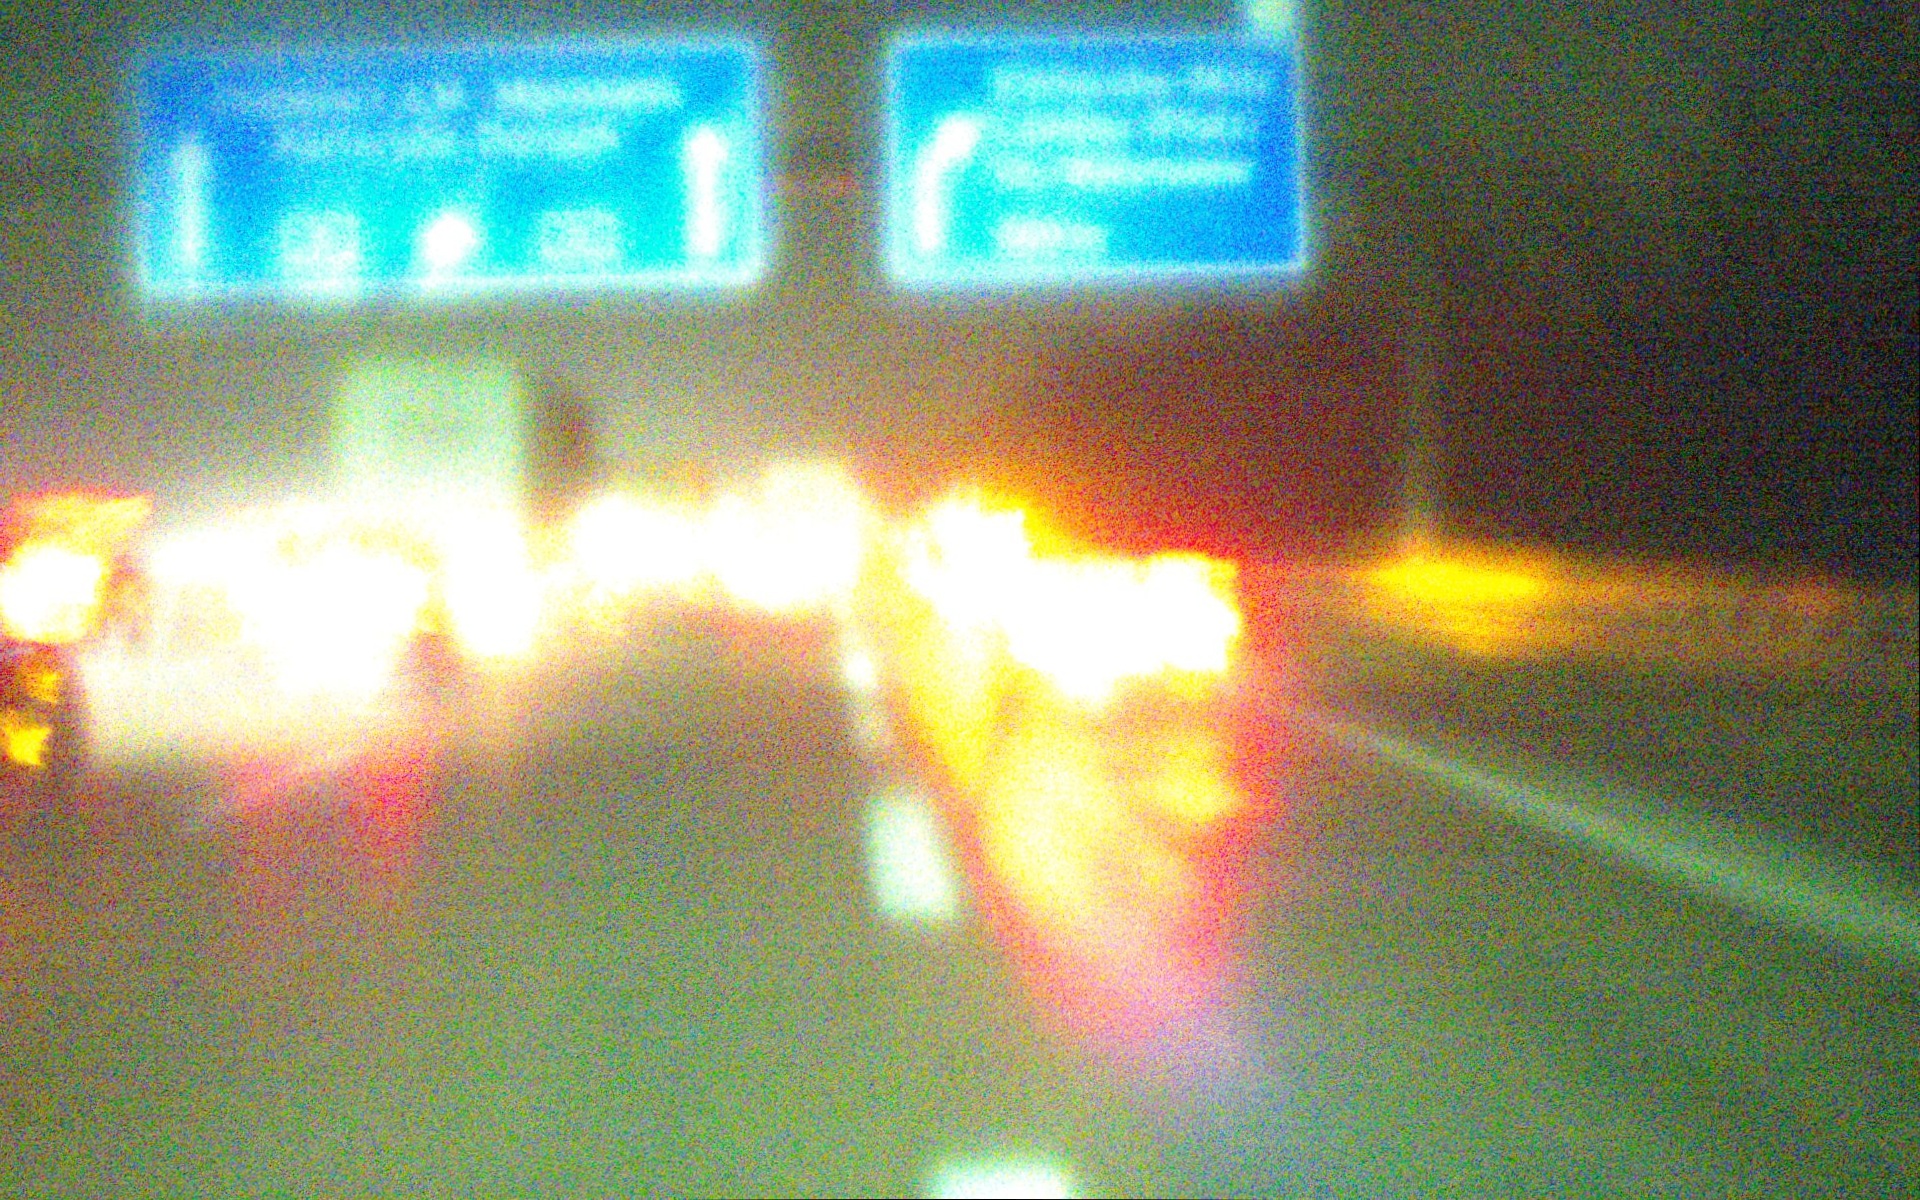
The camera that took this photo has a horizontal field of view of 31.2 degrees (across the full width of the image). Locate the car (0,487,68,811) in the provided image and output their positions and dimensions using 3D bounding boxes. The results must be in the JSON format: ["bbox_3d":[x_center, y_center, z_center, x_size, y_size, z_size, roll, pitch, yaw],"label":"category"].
[{"bbox_3d":[-5.859,0.256,17.684,1.765,1.683,4.001,0,2,-4],"label":"car"}]

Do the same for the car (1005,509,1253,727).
[{"bbox_3d":[1.406,0.121,30.129,1.878,1.756,4.000,1,1,-1],"label":"car"}]

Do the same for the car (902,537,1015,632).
[{"bbox_3d":[-0.072,-0.312,65.035,1.993,1.698,4.459,1,1,-2],"label":"car"}]

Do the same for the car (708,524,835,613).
[{"bbox_3d":[-4.455,-0.762,82.110,2.832,2.007,5.511,1,1,-1],"label":"car"}]

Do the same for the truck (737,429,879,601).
[{"bbox_3d":[-4.959,-2.678,110.050,4.161,5.197,9.956,1,1,-4],"label":"truck"}]

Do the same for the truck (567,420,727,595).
[{"bbox_3d":[-10.188,-2.981,113.405,4.254,5.425,10.885,1,1,0],"label":"truck"}]

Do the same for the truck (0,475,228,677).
[{"bbox_3d":[-10.483,-0.315,40.506,2.856,2.193,5.860,1,1,-4],"label":"truck"}]

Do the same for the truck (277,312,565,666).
[{"bbox_3d":[-7.836,-1.569,51.325,3.655,4.721,9.854,1,1,-6],"label":"truck"}]

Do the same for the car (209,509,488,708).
[{"bbox_3d":[-5.788,0.046,33.069,2.038,1.755,4.516,1,1,-2],"label":"car"}]
